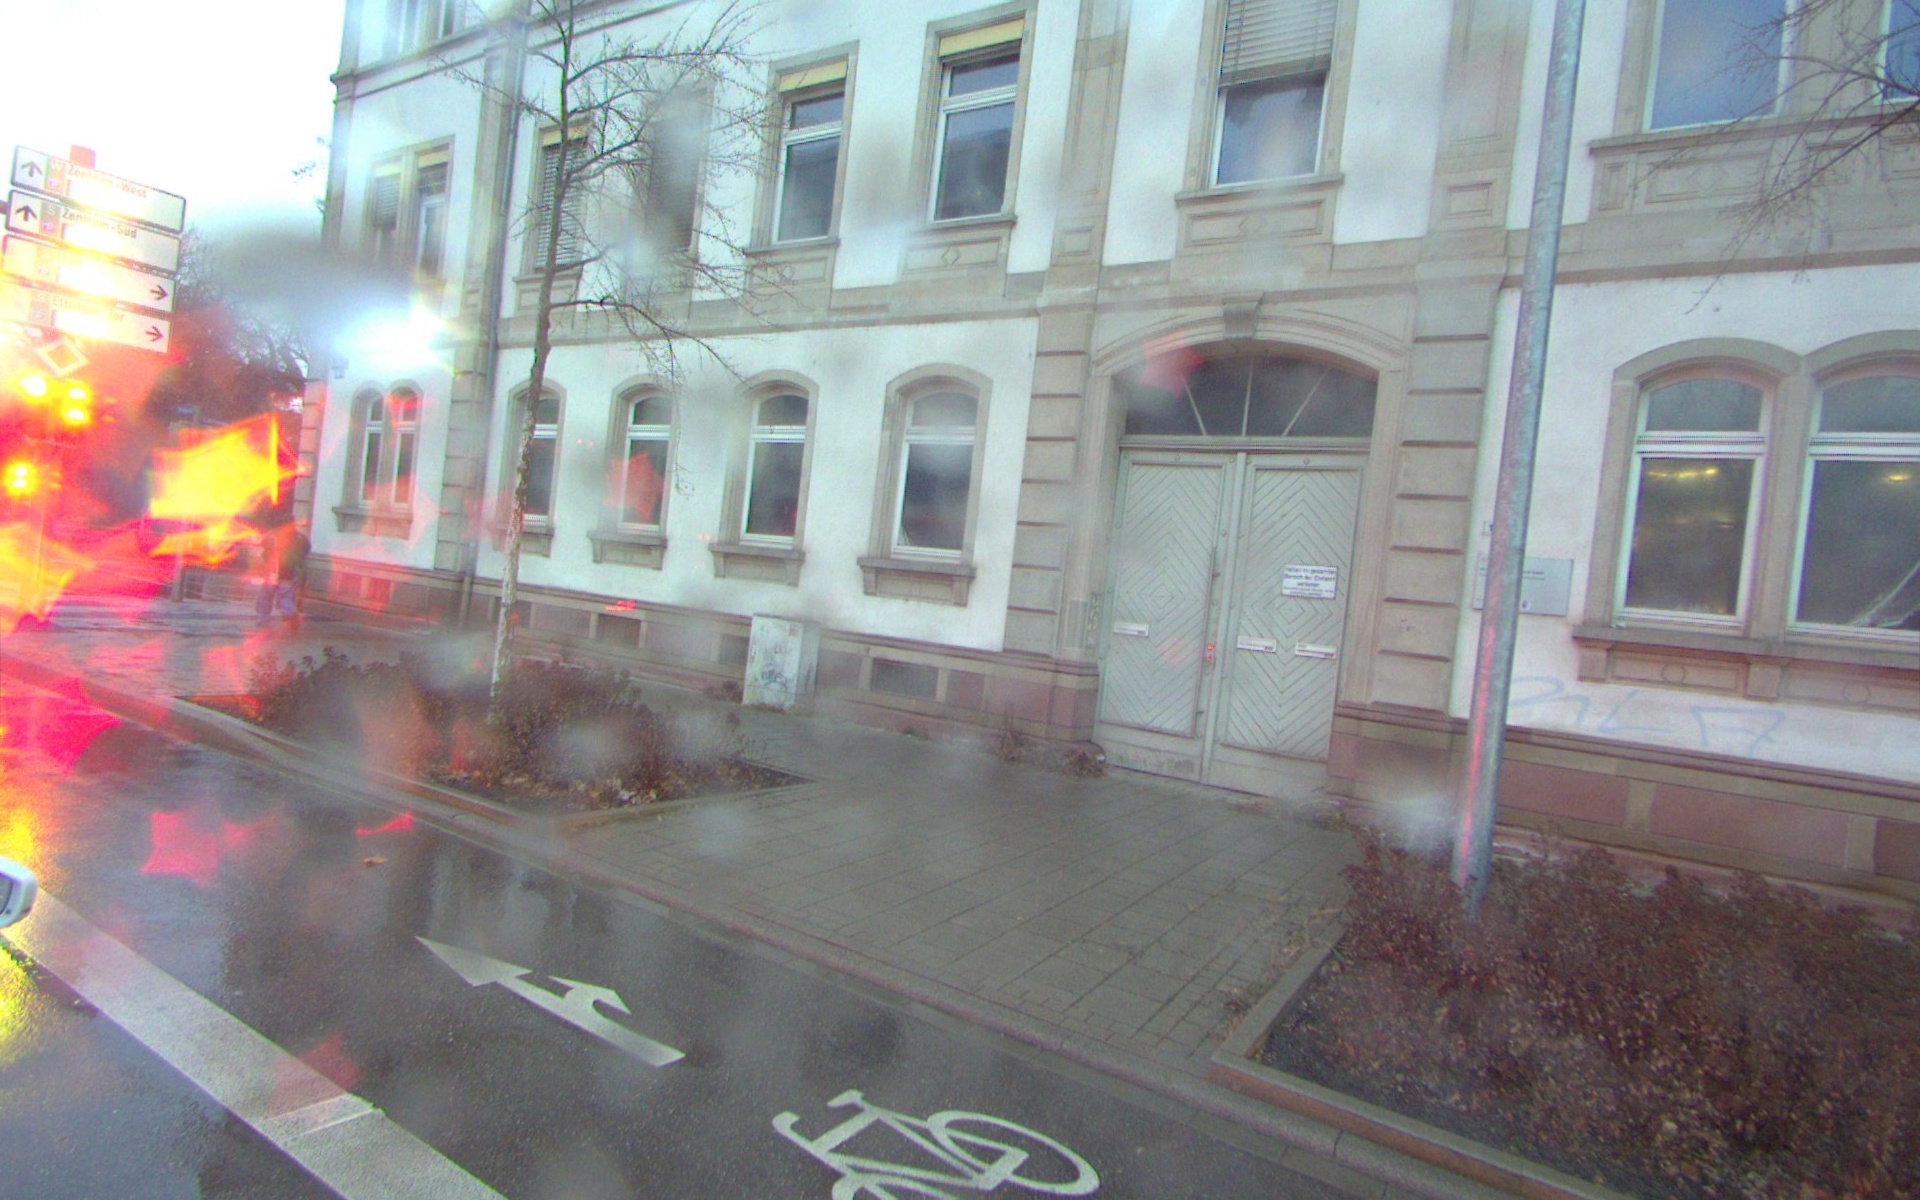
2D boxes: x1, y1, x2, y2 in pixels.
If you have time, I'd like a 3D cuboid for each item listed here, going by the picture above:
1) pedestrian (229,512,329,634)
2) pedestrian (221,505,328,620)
[{"bbox_3d":[-9.809,-0.391,14.482,0.996,1.597,0.781,6,-1,39],"label":"pedestrian"},{"bbox_3d":[-10.843,-0.578,15.932,0.992,1.651,0.785,7,-1,16],"label":"pedestrian"}]
